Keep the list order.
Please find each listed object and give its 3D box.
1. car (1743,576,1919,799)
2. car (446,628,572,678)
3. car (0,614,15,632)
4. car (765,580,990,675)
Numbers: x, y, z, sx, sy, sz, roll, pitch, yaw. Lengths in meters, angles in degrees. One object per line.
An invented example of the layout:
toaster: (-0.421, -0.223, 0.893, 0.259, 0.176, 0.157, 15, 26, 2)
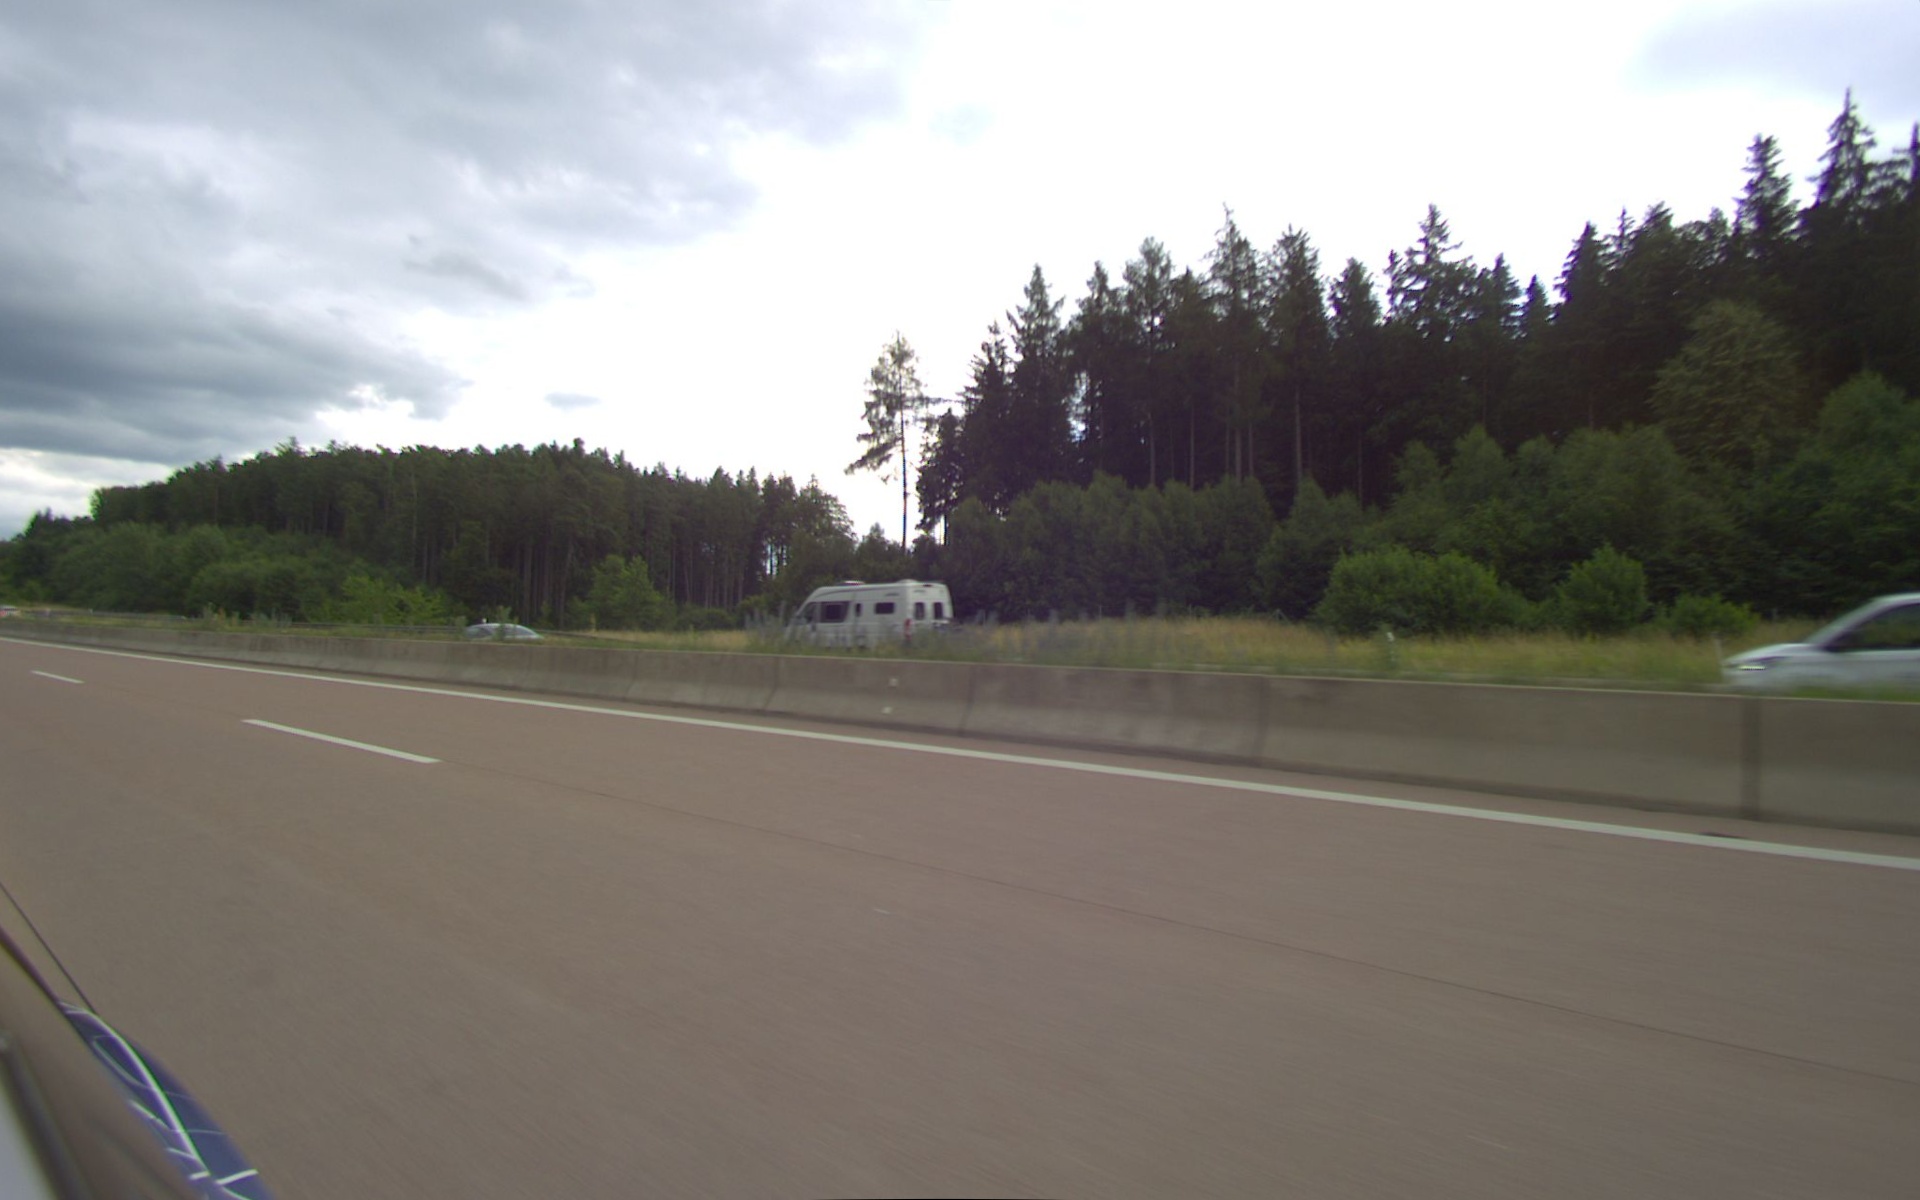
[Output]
car: (13.145, 1.011, 11.743, 6.350, 2.629, 2.013, -1, 0, 40)
car: (-13.638, 1.543, 30.511, 4.157, 1.290, 1.877, -1, 0, 40)
car: (-102.506, 2.450, 107.789, 4.719, 1.897, 2.013, -1, 0, 39)
car: (-2.694, 0.768, 31.125, 7.324, 2.629, 2.435, -1, 0, 40)
